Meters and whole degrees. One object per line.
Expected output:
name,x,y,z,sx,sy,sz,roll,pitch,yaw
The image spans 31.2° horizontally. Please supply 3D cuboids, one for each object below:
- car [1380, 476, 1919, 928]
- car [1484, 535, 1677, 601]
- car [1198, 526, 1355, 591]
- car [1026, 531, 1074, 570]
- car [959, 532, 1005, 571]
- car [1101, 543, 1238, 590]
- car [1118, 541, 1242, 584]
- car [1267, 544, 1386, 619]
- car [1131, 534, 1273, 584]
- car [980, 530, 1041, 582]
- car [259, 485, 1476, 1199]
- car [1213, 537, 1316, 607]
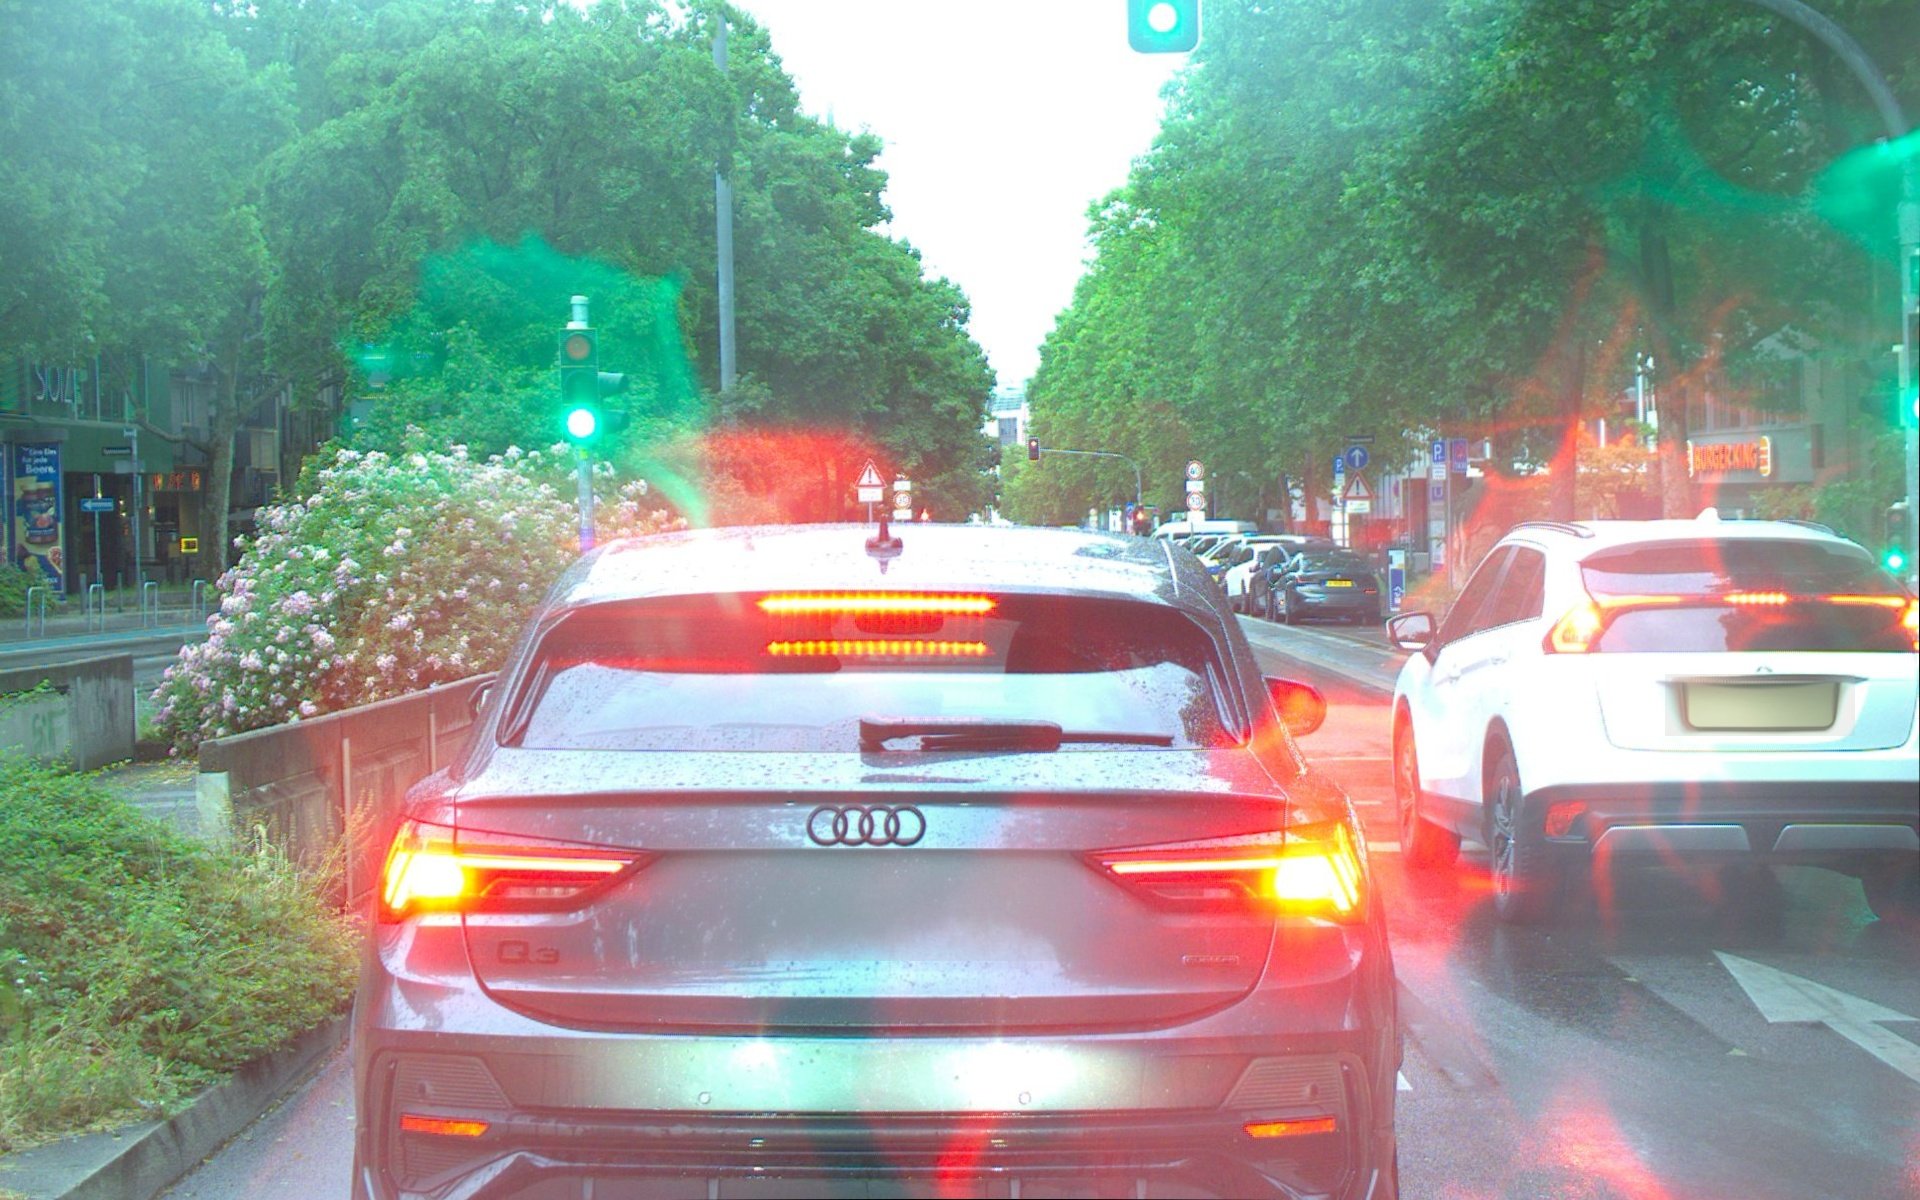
car,3.023,0.378,15.045,1.878,1.691,4.000,1,0,0
car,10.574,-0.550,58.581,2.889,1.071,1.453,1,0,32
car,10.029,-1.313,109.046,4.602,2.007,1.964,1,0,39
car,3.949,-2.166,151.098,1.993,1.645,4.000,1,0,1
car,0.927,-2.085,148.583,1.896,1.593,3.939,1,0,-1
car,7.763,-1.244,127.638,4.646,1.700,1.997,1,0,28
car,8.990,-1.523,140.589,4.646,1.700,1.997,1,0,28
car,7.263,-0.383,68.515,1.873,1.416,4.611,1,1,0
car,8.688,-1.470,123.388,4.646,1.700,1.997,1,0,28
car,1.735,-1.517,119.620,1.993,1.721,4.000,1,0,0
car,-0.165,0.594,7.234,1.849,1.596,4.000,0,1,-1
car,6.990,-0.645,79.285,1.727,1.566,4.074,1,0,-4
